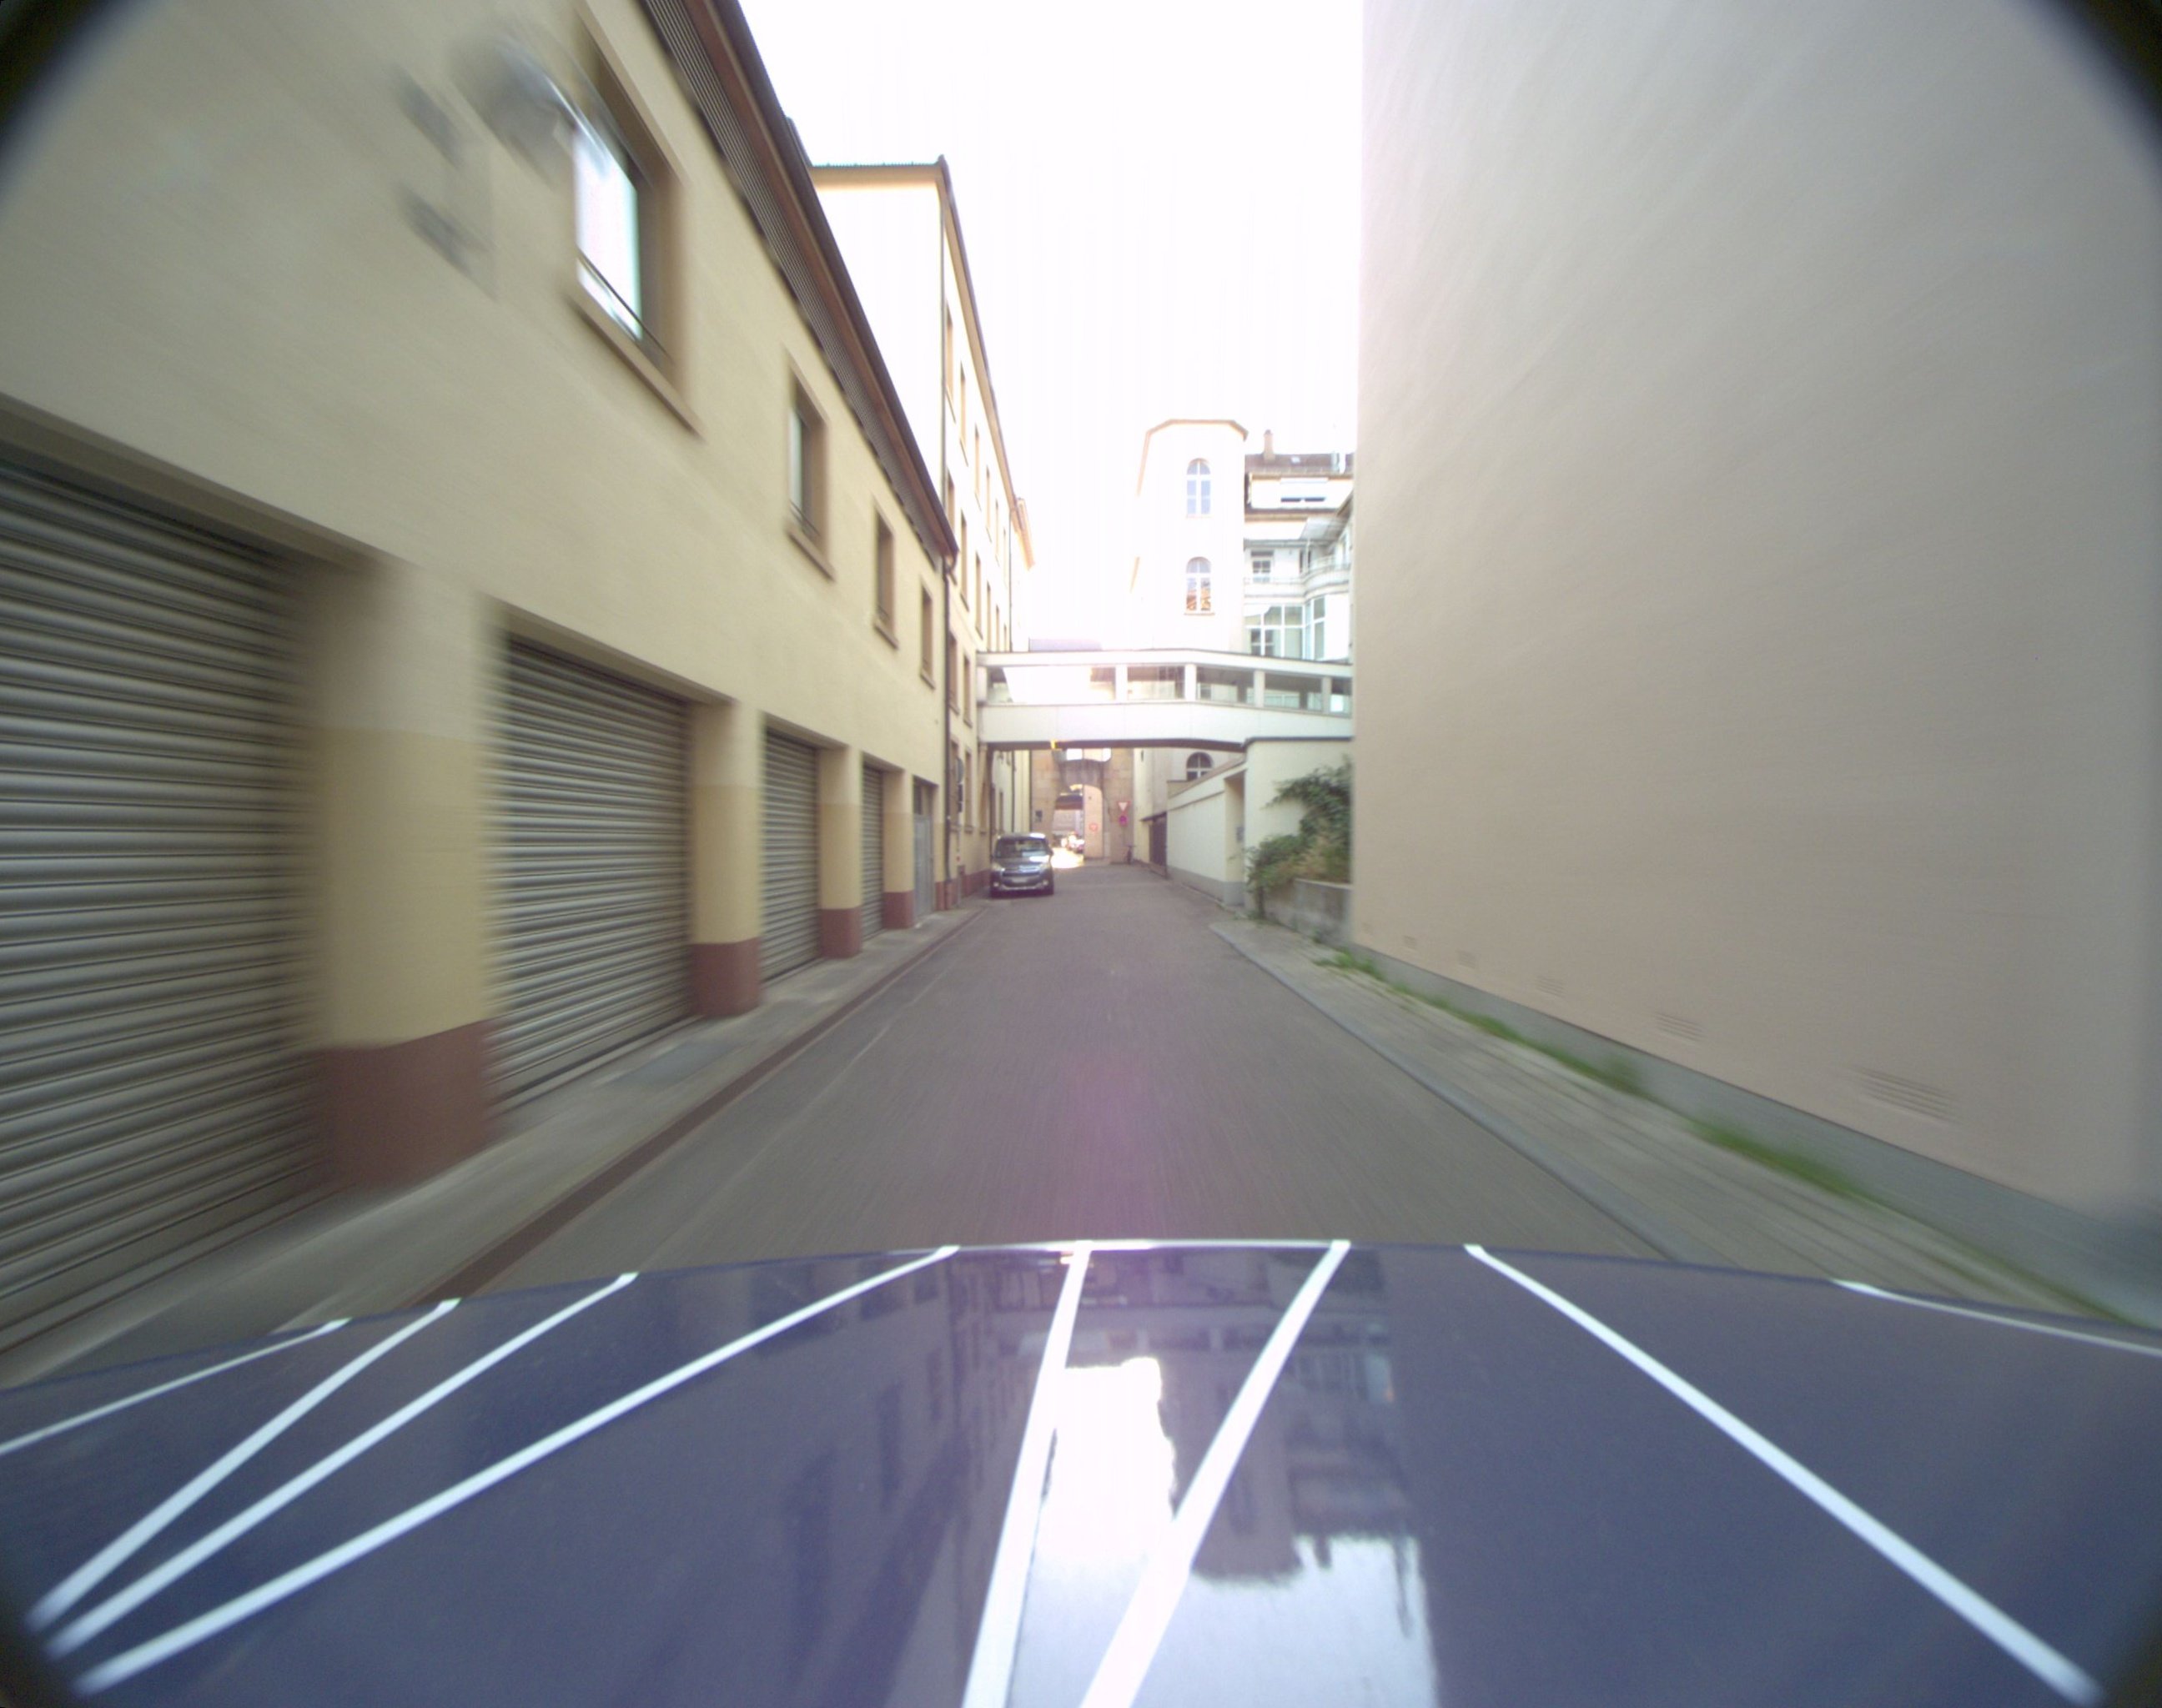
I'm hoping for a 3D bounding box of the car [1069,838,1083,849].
[{"bbox_3d":[-0.691,-1.532,106.604,1.806,1.415,3.753,-2,2,-2],"label":"car"}]

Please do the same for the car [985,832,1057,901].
[{"bbox_3d":[-1.663,0.276,22.474,1.764,1.757,4.748,-2,2,-1],"label":"car"}]

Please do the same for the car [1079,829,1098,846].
[{"bbox_3d":[0.854,-1.945,87.426,1.999,1.806,3.998,-2,2,-1],"label":"car"}]
